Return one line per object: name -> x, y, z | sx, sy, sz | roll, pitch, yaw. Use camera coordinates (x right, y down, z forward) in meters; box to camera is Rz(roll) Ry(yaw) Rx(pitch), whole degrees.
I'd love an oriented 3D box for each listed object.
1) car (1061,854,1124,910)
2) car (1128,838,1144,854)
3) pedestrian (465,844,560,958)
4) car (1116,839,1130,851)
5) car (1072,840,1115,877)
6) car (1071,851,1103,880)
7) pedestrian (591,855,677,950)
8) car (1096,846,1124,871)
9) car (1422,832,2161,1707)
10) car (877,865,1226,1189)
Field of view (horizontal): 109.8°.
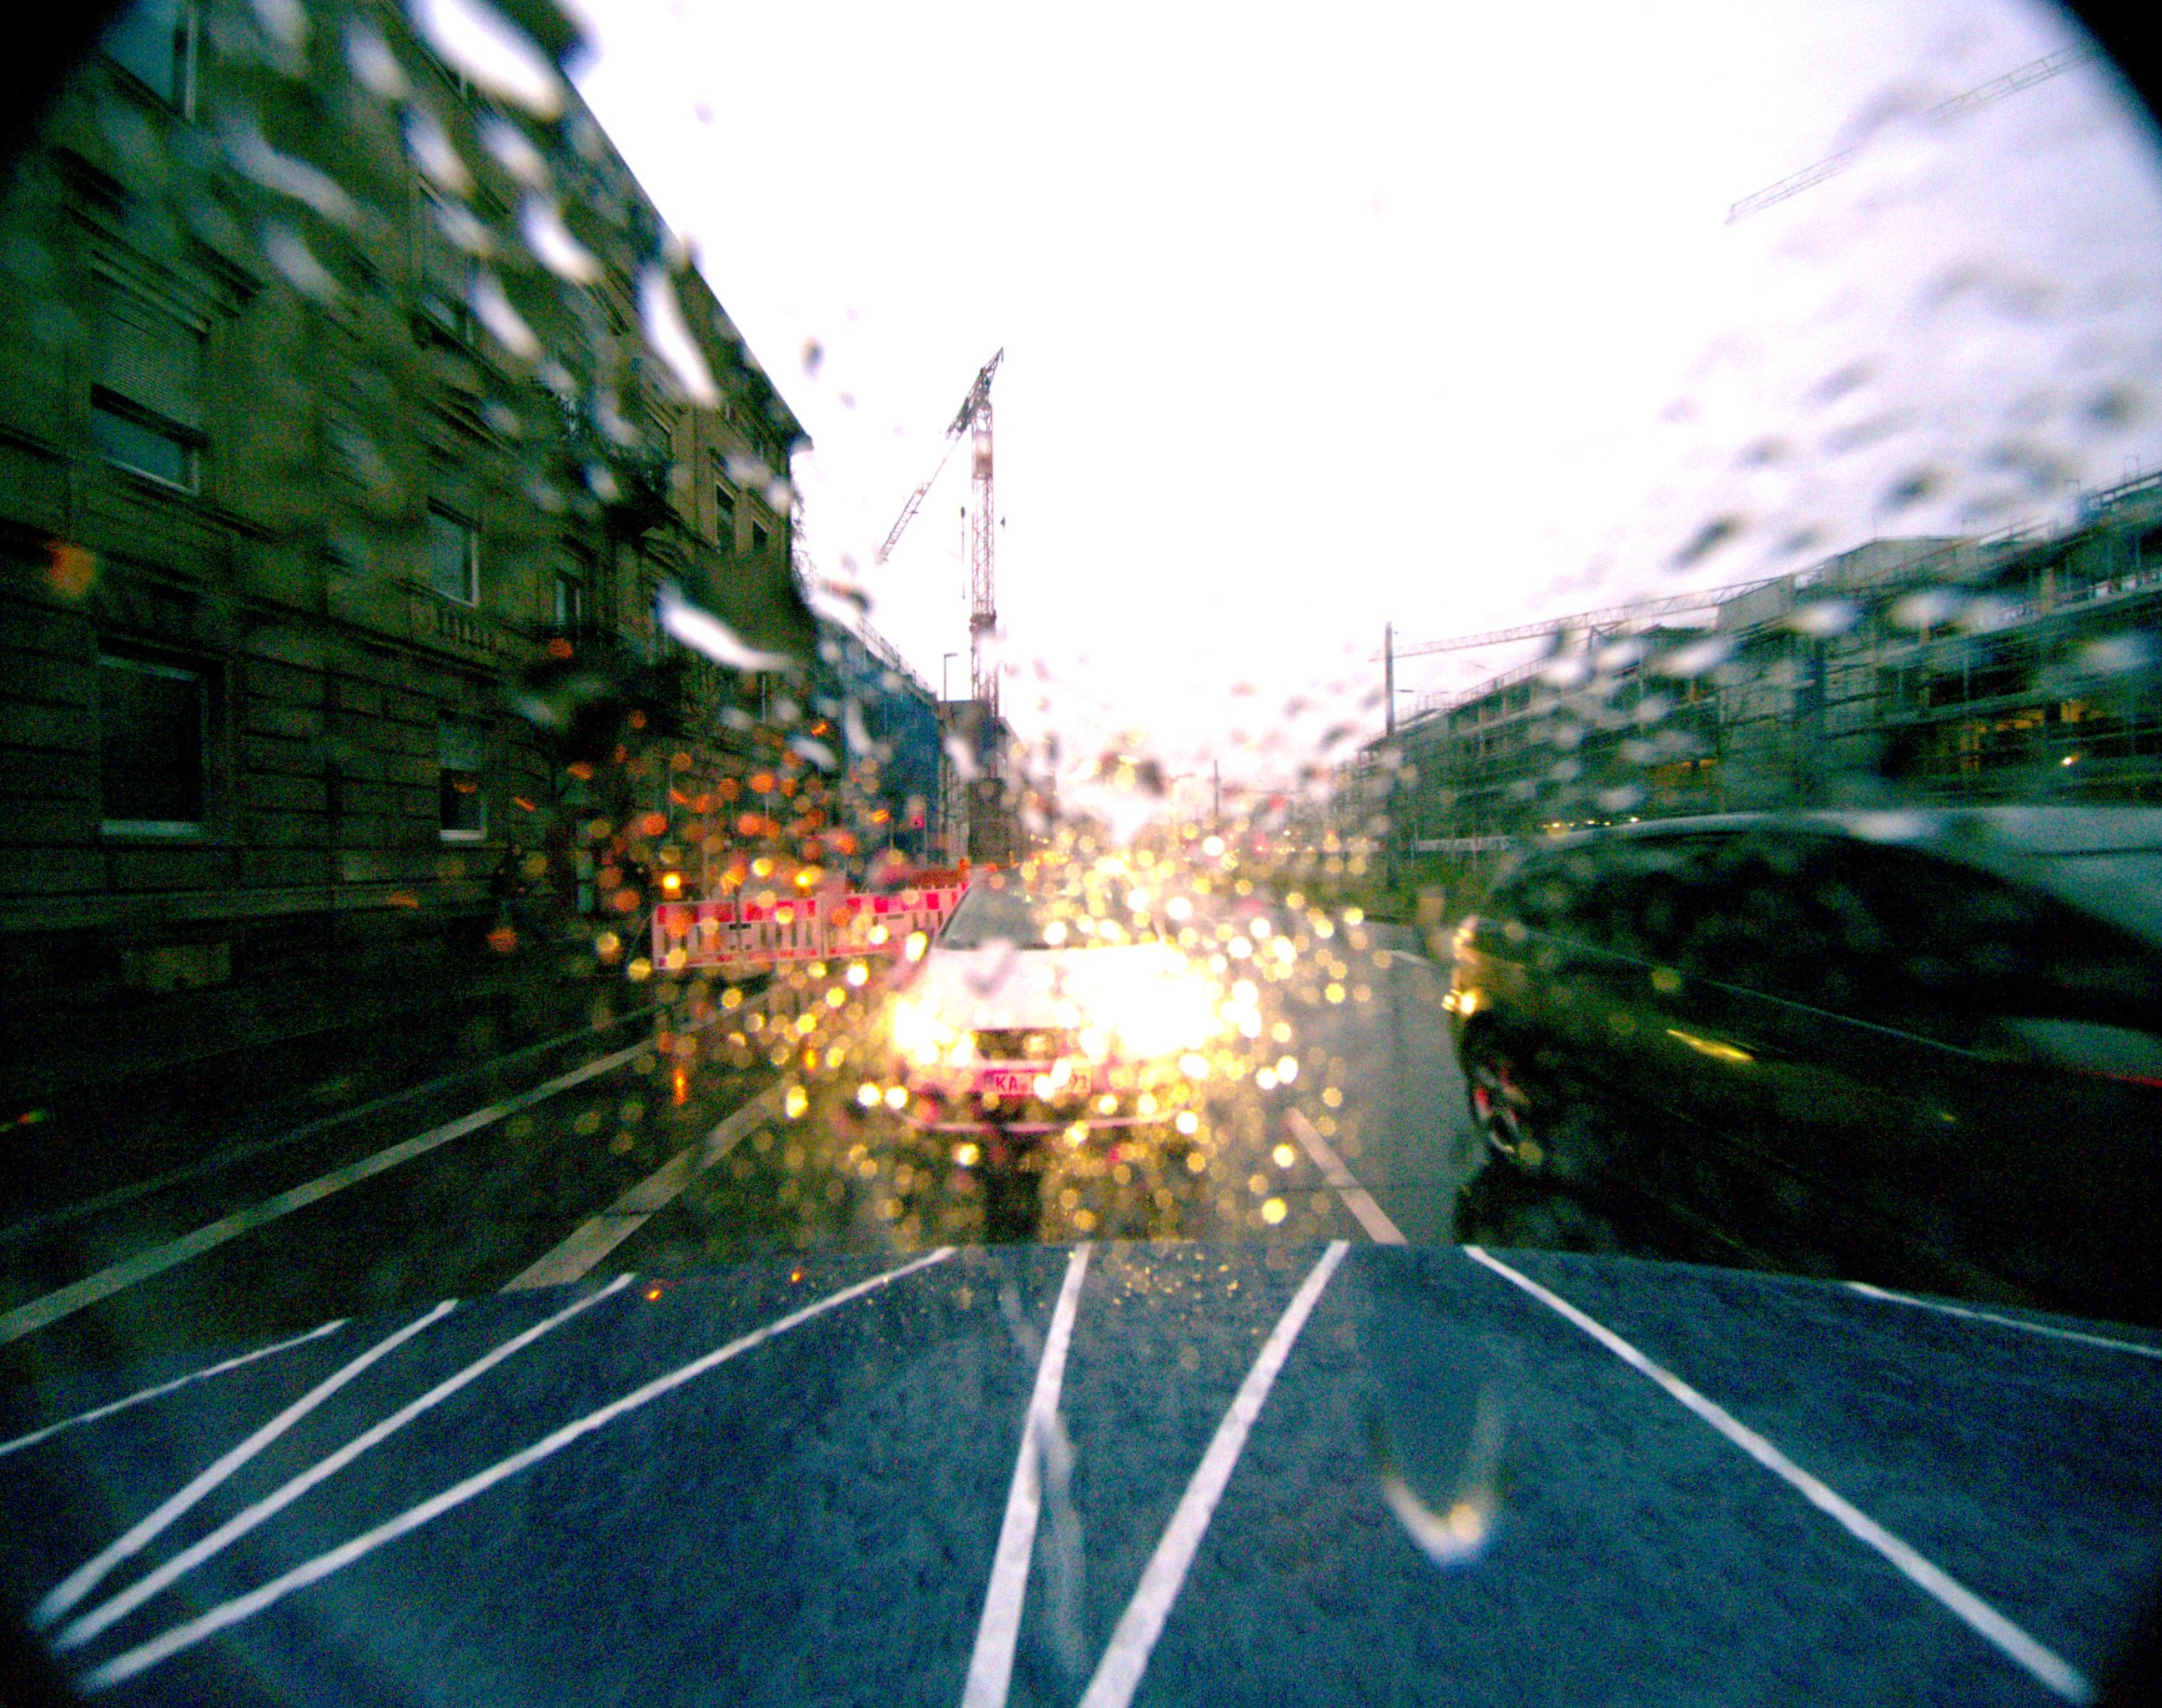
car -> 0.334, 0.818, 24.173 | 1.769, 1.504, 3.899 | -3, 1, 0
car -> 6.314, -0.934, 87.233 | 1.768, 1.614, 3.900 | -3, 1, 4
pedestrian -> -8.541, 0.690, 11.448 | 0.870, 1.663, 0.707 | 0, 1, 4
car -> 5.916, -1.314, 106.925 | 1.768, 1.614, 3.900 | -3, 1, 4
car -> 0.535, 0.165, 34.285 | 1.769, 1.504, 3.899 | -3, 1, 0
car -> 0.315, 0.641, 45.063 | 1.769, 1.504, 3.899 | -3, 1, 0
pedestrian -> -7.554, 0.794, 12.879 | 0.870, 1.536, 0.929 | 0, 1, 1
car -> 1.977, 0.283, 53.072 | 1.769, 1.504, 3.899 | -3, 1, 0
car -> 2.671, 0.774, 1.761 | 1.815, 1.636, 4.134 | -2, 0, -1
car -> -0.157, 0.944, 5.961 | 1.769, 1.504, 3.899 | -3, 1, 0
